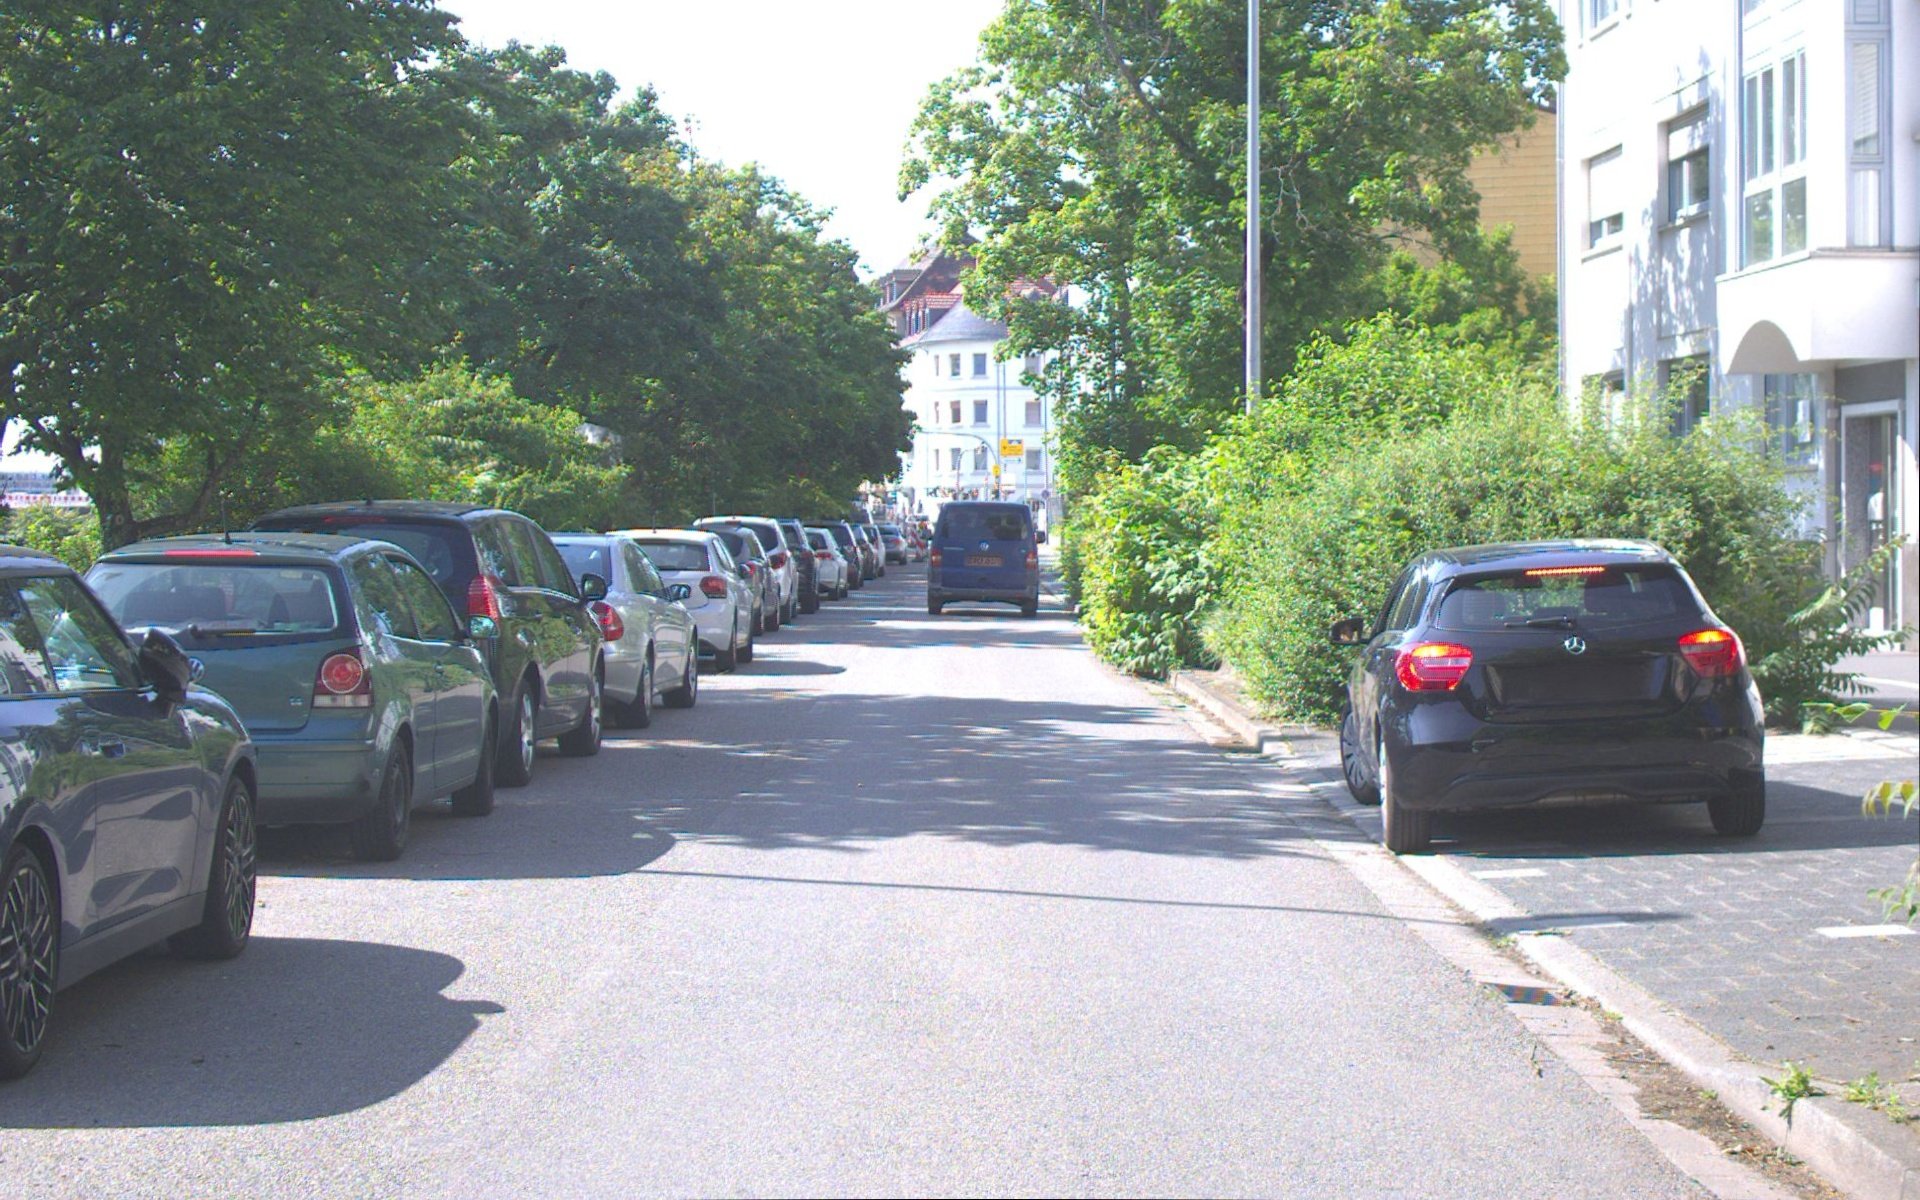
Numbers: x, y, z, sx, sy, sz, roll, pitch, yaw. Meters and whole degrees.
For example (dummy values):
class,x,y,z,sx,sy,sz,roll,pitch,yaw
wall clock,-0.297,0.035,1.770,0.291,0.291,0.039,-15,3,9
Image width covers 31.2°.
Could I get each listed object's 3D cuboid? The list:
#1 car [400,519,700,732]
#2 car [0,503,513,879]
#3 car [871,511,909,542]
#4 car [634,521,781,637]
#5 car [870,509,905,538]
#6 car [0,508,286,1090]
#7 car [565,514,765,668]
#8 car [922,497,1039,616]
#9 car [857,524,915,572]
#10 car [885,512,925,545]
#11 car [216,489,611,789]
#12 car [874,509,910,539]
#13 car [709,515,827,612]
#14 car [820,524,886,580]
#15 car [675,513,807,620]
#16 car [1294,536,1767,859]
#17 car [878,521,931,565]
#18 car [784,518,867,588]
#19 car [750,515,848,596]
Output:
class,x,y,z,sx,sy,sz,roll,pitch,yaw
car,-3.022,0.125,26.127,1.664,1.402,4.320,2,2,1
car,-3.245,0.330,16.285,1.664,1.506,3.789,2,2,1
car,-3.802,-4.019,187.207,1.993,1.651,4.000,0,1,0
car,-3.416,-0.323,47.112,1.664,1.504,4.201,0,1,1
car,-4.217,-4.449,200.267,1.993,1.651,3.741,0,1,0
car,-3.277,0.465,10.347,1.664,1.468,3.789,2,2,1
car,-3.076,-0.138,36.532,1.664,1.463,4.201,2,2,1
car,0.366,-0.779,59.193,1.883,1.915,4.008,2,2,1
car,-2.616,-1.870,122.537,1.993,1.651,4.000,0,1,0
car,-2.780,-3.646,175.178,1.993,1.651,4.000,0,1,0
car,-3.203,0.160,20.846,1.664,1.578,3.932,2,2,1
car,-3.854,-4.319,196.058,1.993,1.651,3.741,0,1,0
car,-3.222,-0.645,58.217,1.664,1.504,4.008,2,2,1
car,-2.989,-1.367,96.894,1.664,1.504,4.008,1,1,1
car,-3.332,-0.548,52.881,1.664,1.504,4.008,2,2,1
car,2.760,0.402,17.455,1.726,1.415,4.000,-1,1,0
car,-2.109,-2.218,132.329,1.993,1.651,4.000,0,1,0
car,-3.123,-1.123,80.310,1.664,1.504,4.008,2,2,1
car,-3.218,-0.918,69.305,1.664,1.504,4.008,2,2,1
